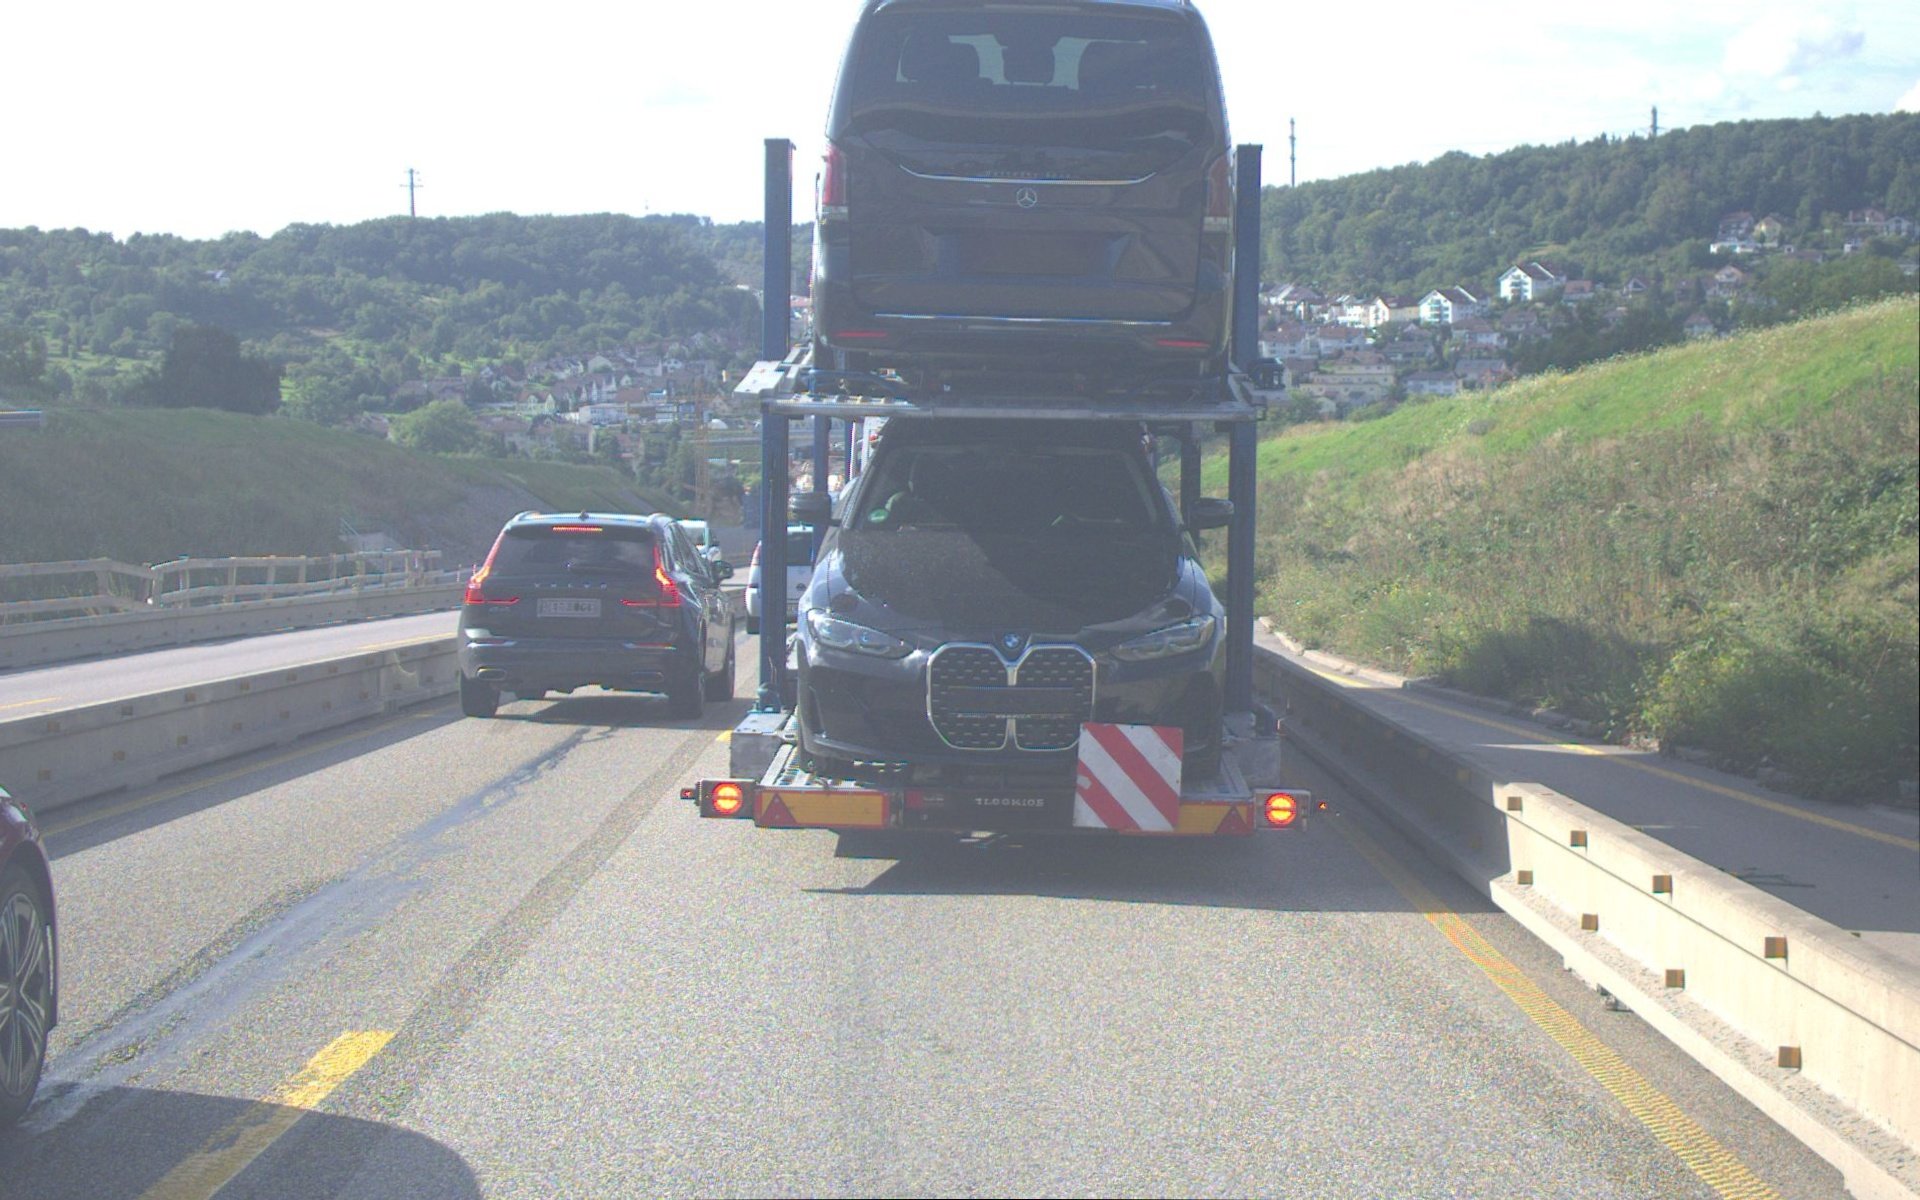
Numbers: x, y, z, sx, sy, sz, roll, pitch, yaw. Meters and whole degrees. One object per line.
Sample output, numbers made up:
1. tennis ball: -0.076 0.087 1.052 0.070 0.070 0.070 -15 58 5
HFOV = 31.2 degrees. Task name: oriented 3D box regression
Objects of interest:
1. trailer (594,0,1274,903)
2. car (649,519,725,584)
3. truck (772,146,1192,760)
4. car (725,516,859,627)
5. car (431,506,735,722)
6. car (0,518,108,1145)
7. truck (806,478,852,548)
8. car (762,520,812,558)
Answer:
1. trailer: 0.057 -0.926 19.428 2.708 4.015 11.419 0 1 2
2. car: -7.528 -1.362 95.009 1.734 1.653 4.218 -3 2 -1
3. truck: 0.225 -1.001 24.980 2.678 3.908 6.027 0 1 2
4. car: -2.494 -0.465 51.896 1.796 1.591 4.743 0 1 0
5. car: -3.026 0.041 28.549 1.993 1.619 4.750 1 2 0
6. car: -3.193 0.582 6.808 1.823 1.487 4.685 1 2 0
7. truck: -7.942 -5.288 209.122 2.614 4.139 5.782 0 1 -1
8. car: -6.953 -2.466 138.373 1.734 1.420 4.628 -3 1 0
